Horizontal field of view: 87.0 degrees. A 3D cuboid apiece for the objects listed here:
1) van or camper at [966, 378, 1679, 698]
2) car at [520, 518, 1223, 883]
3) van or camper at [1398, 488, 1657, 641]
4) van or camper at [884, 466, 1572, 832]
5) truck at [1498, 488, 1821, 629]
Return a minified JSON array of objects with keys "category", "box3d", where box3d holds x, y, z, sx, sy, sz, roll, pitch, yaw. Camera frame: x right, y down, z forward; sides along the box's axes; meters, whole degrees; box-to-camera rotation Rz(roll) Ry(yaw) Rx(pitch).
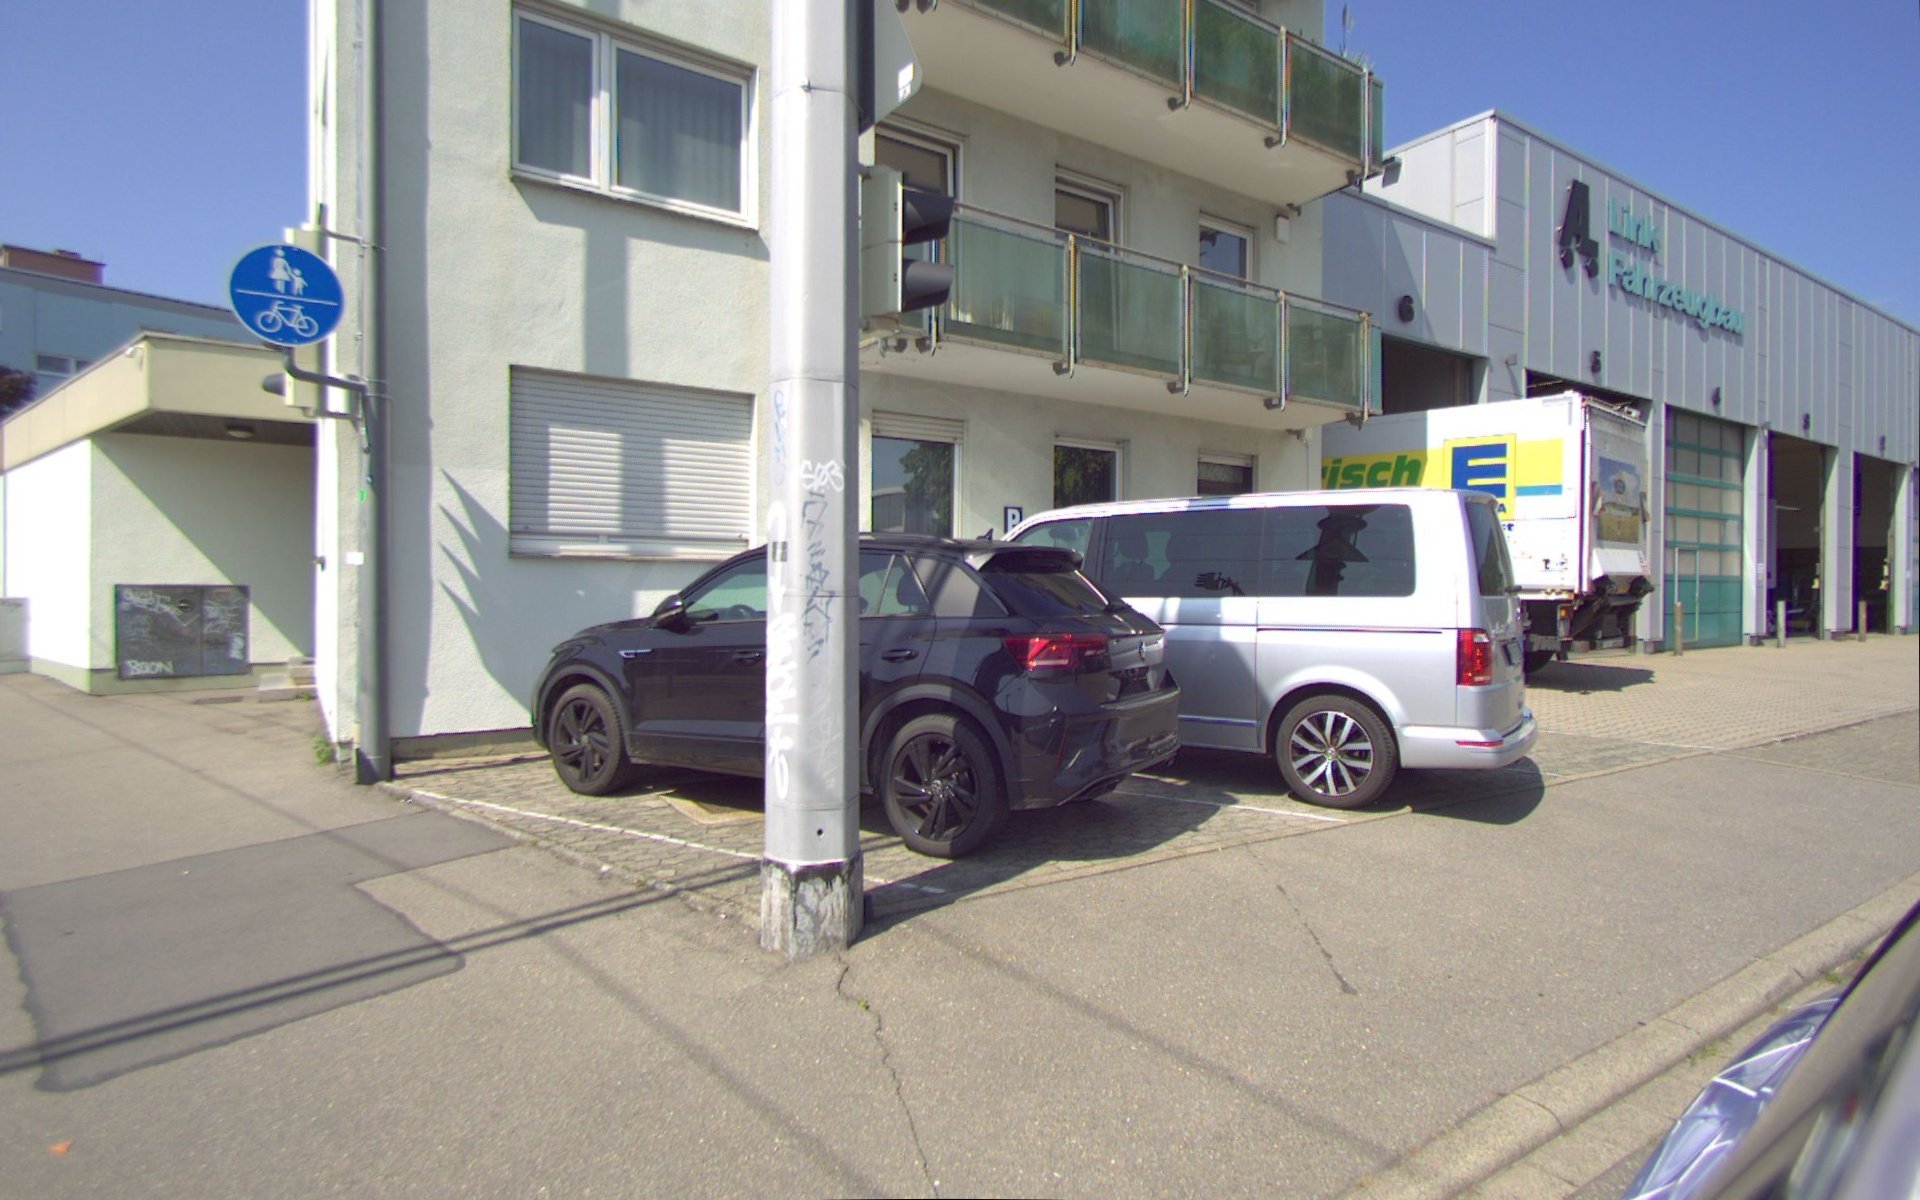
[{"category":"van or camper","box3d":[4.900,-0.849,17.190,2.732,3.739,11.623,0,1,-40]},{"category":"car","box3d":[-0.622,0.386,6.120,3.943,1.540,1.859,1,1,32]},{"category":"van or camper","box3d":[13.343,-0.784,24.131,1.962,3.246,5.058,-1,1,-35]},{"category":"van or camper","box3d":[1.797,0.195,7.502,4.529,1.931,1.974,2,1,37]},{"category":"truck","box3d":[21.331,-1.239,31.465,2.573,3.829,7.866,0,1,-33]}]
